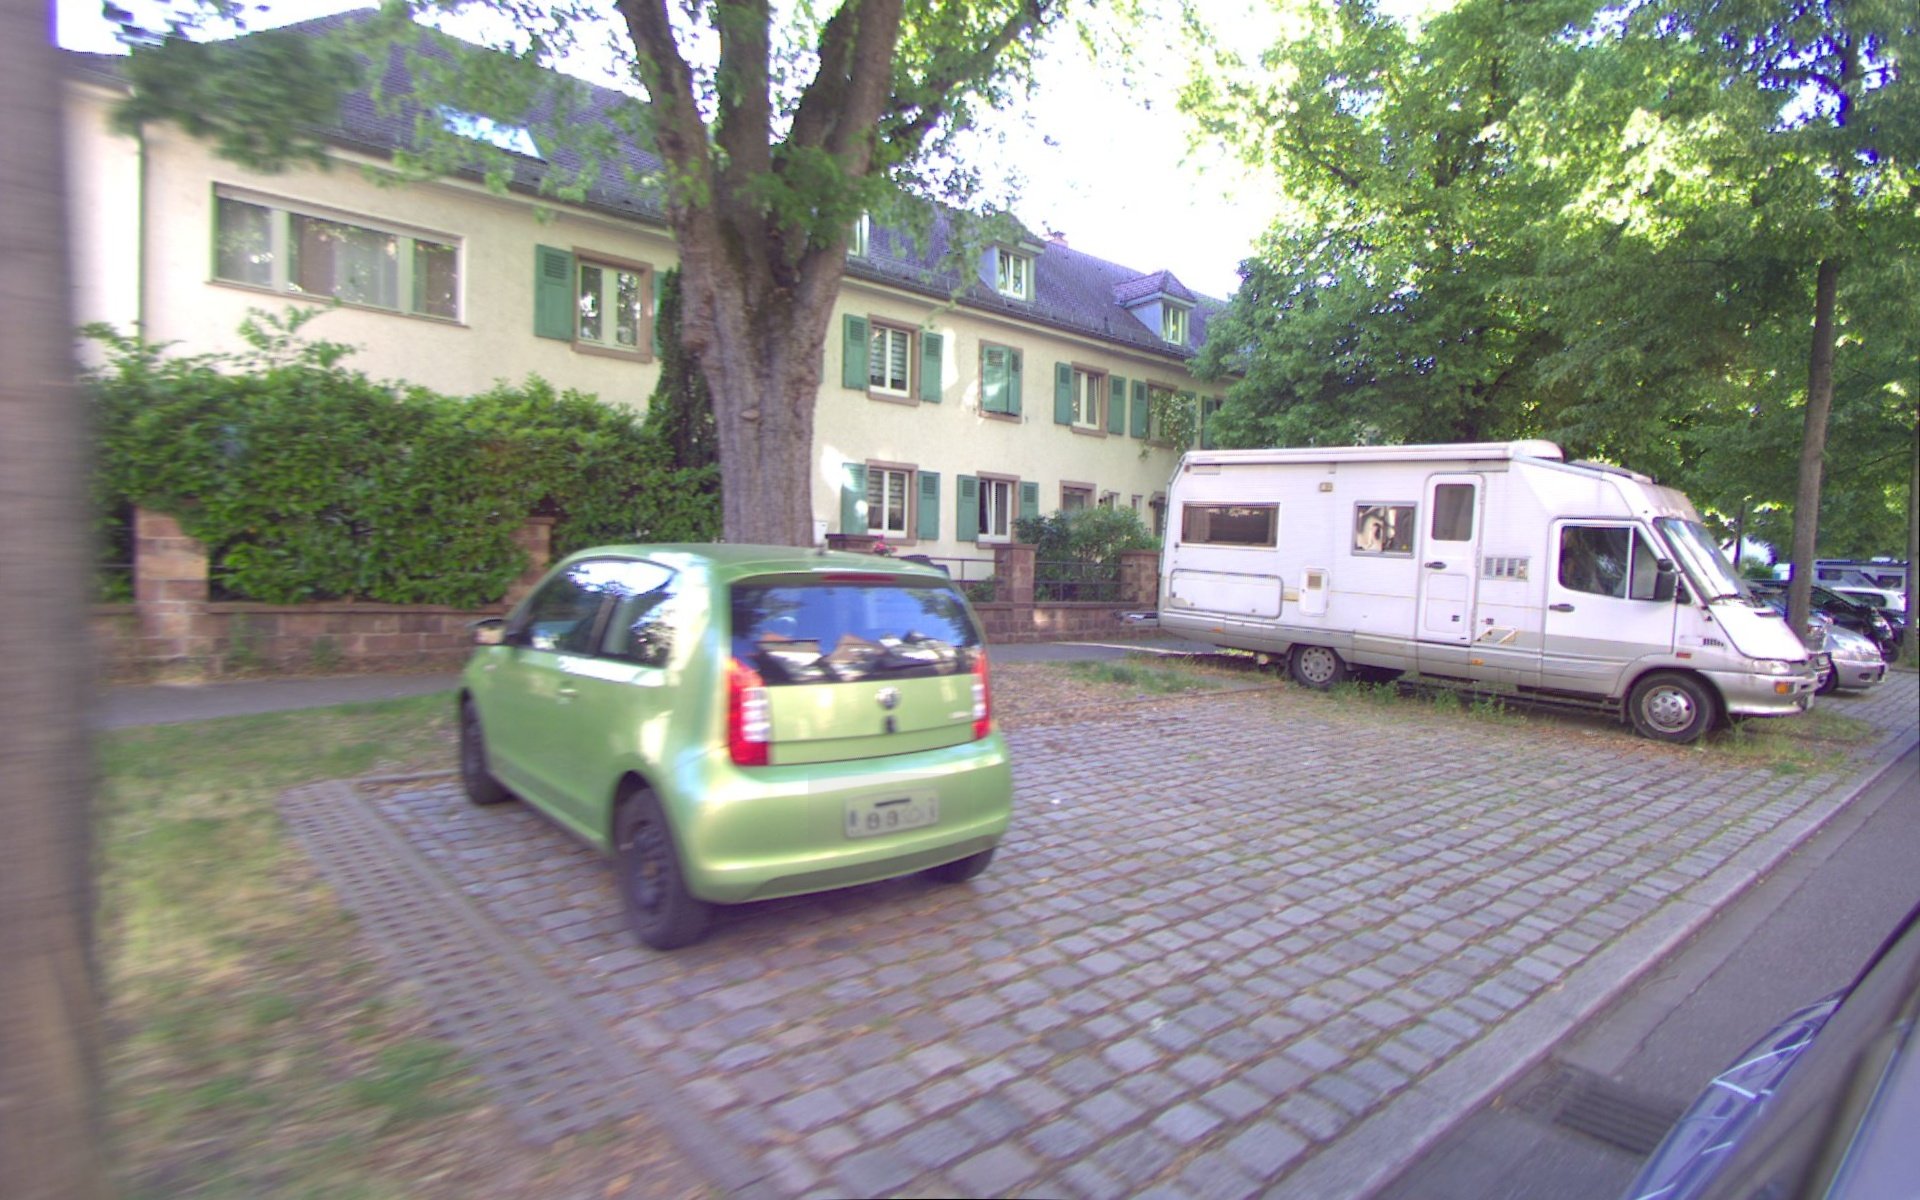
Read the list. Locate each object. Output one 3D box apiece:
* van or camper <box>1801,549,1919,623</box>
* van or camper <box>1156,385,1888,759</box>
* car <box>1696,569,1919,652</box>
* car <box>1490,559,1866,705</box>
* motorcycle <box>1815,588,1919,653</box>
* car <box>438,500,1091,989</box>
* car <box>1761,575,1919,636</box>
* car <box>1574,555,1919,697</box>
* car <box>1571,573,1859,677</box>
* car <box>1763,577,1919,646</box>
[{"bbox_3d":[39.020,-0.609,41.029,2.386,2.939,7.262,-2,3,-41],"label":"van or camper"},{"bbox_3d":[5.942,-0.342,11.861,2.423,3.116,7.085,0,2,-43],"label":"van or camper"},{"bbox_3d":[19.836,0.180,23.288,1.895,1.628,4.341,-1,4,-42],"label":"car"},{"bbox_3d":[10.127,0.319,14.542,1.869,1.617,3.975,-1,5,-38],"label":"car"},{"bbox_3d":[18.193,0.381,20.259,0.725,1.212,1.774,1,1,5],"label":"motorcycle"},{"bbox_3d":[-1.257,0.362,5.061,1.648,1.524,3.598,1,2,-40],"label":"car"},{"bbox_3d":[26.153,0.151,29.210,1.722,1.495,4.469,0,4,-40],"label":"car"},{"bbox_3d":[12.018,0.272,15.648,1.699,1.765,3.923,-1,4,-41],"label":"car"},{"bbox_3d":[13.350,0.339,18.036,3.878,1.490,1.759,5,4,44],"label":"car"},{"bbox_3d":[21.951,0.252,24.660,1.664,1.493,3.455,0,3,-41],"label":"car"}]
